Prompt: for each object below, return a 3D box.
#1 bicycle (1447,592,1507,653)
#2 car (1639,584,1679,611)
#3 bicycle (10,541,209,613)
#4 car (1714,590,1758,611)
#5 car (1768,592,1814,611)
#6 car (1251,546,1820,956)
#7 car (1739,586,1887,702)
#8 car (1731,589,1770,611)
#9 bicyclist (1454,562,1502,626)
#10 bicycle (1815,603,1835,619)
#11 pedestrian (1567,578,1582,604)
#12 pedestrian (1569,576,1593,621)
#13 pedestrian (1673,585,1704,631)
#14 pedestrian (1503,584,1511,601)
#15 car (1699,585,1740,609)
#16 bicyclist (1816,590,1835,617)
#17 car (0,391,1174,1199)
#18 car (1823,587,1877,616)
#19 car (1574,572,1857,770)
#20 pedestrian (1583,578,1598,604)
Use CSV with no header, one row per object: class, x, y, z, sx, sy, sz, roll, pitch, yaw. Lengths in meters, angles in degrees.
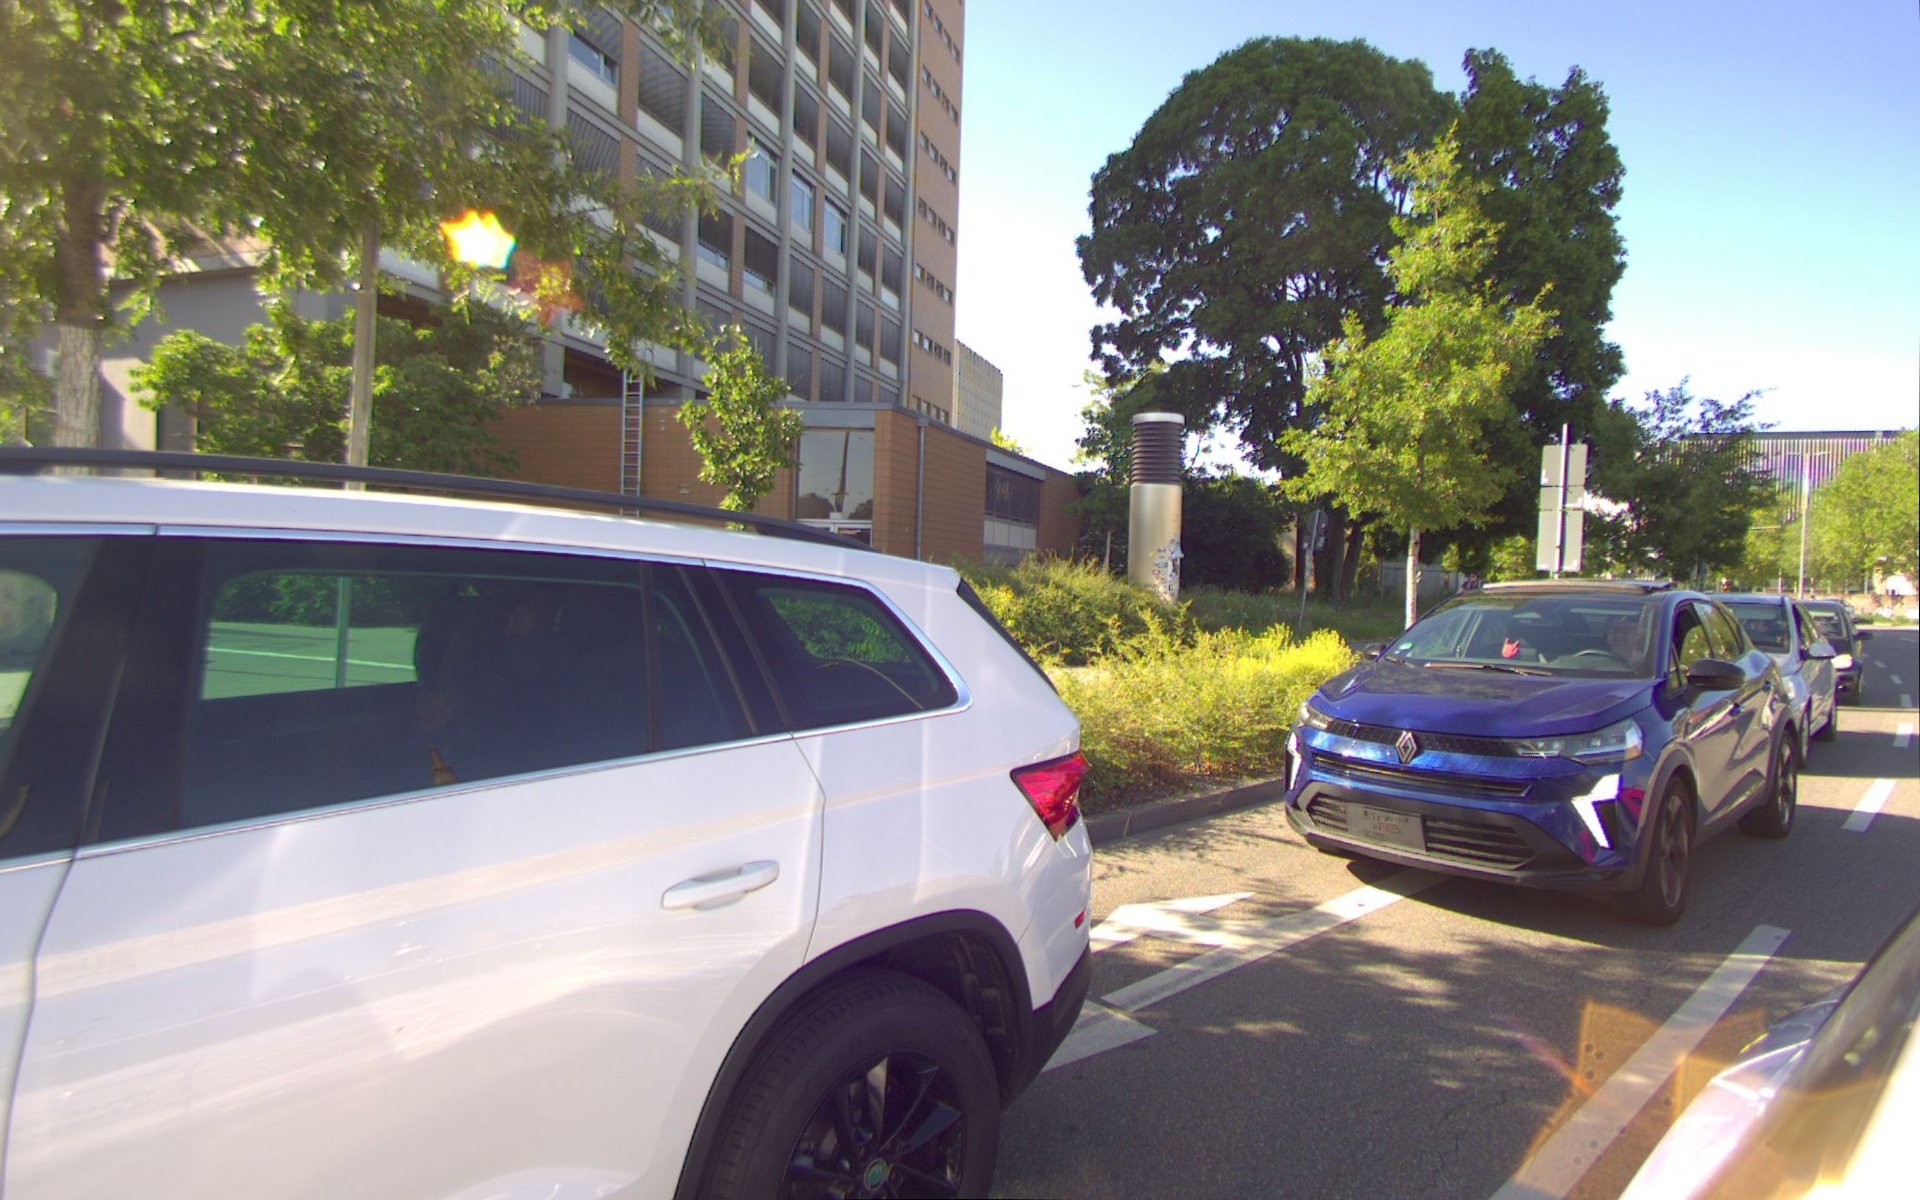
bicycle,11.207,0.458,21.910,0.689,1.232,1.808,5,3,40
car,51.229,-0.193,74.218,1.811,1.876,3.717,2,1,27
bicycle,-17.547,-0.471,21.013,0.790,1.394,3.111,2,1,26
car,52.612,0.005,68.689,1.736,1.396,3.540,1,1,27
car,59.586,0.078,72.593,1.569,1.219,3.967,0,2,25
car,3.596,0.587,5.988,4.013,1.626,1.704,0,1,-41
car,13.844,0.624,16.360,1.646,1.631,3.435,3,2,43
car,61.913,-0.025,79.303,1.578,1.625,3.048,2,1,23
bicyclist,11.109,-0.145,21.689,0.719,1.294,0.895,5,3,37
bicycle,50.480,0.638,59.090,0.585,0.900,1.637,0,0,30
pedestrian,46.860,-0.688,77.189,0.811,1.941,0.767,0,0,20
pedestrian,22.852,-0.055,37.249,0.688,1.624,0.653,2,1,35
pedestrian,26.253,0.285,36.464,0.684,1.624,0.657,2,1,19
pedestrian,65.265,-0.914,120.718,0.812,1.941,0.766,0,0,23
car,64.886,-0.285,86.503,1.767,2.039,4.201,1,1,22
bicyclist,50.486,0.193,59.059,0.689,1.578,0.807,0,0,30
car,-1.620,0.582,1.683,4.223,1.662,1.697,0,2,-42
car,54.839,0.086,62.406,1.509,1.700,3.353,1,0,24
car,8.025,0.583,10.606,3.977,1.645,1.782,0,2,-45
pedestrian,47.588,-0.682,76.427,0.811,1.941,0.767,0,0,20
